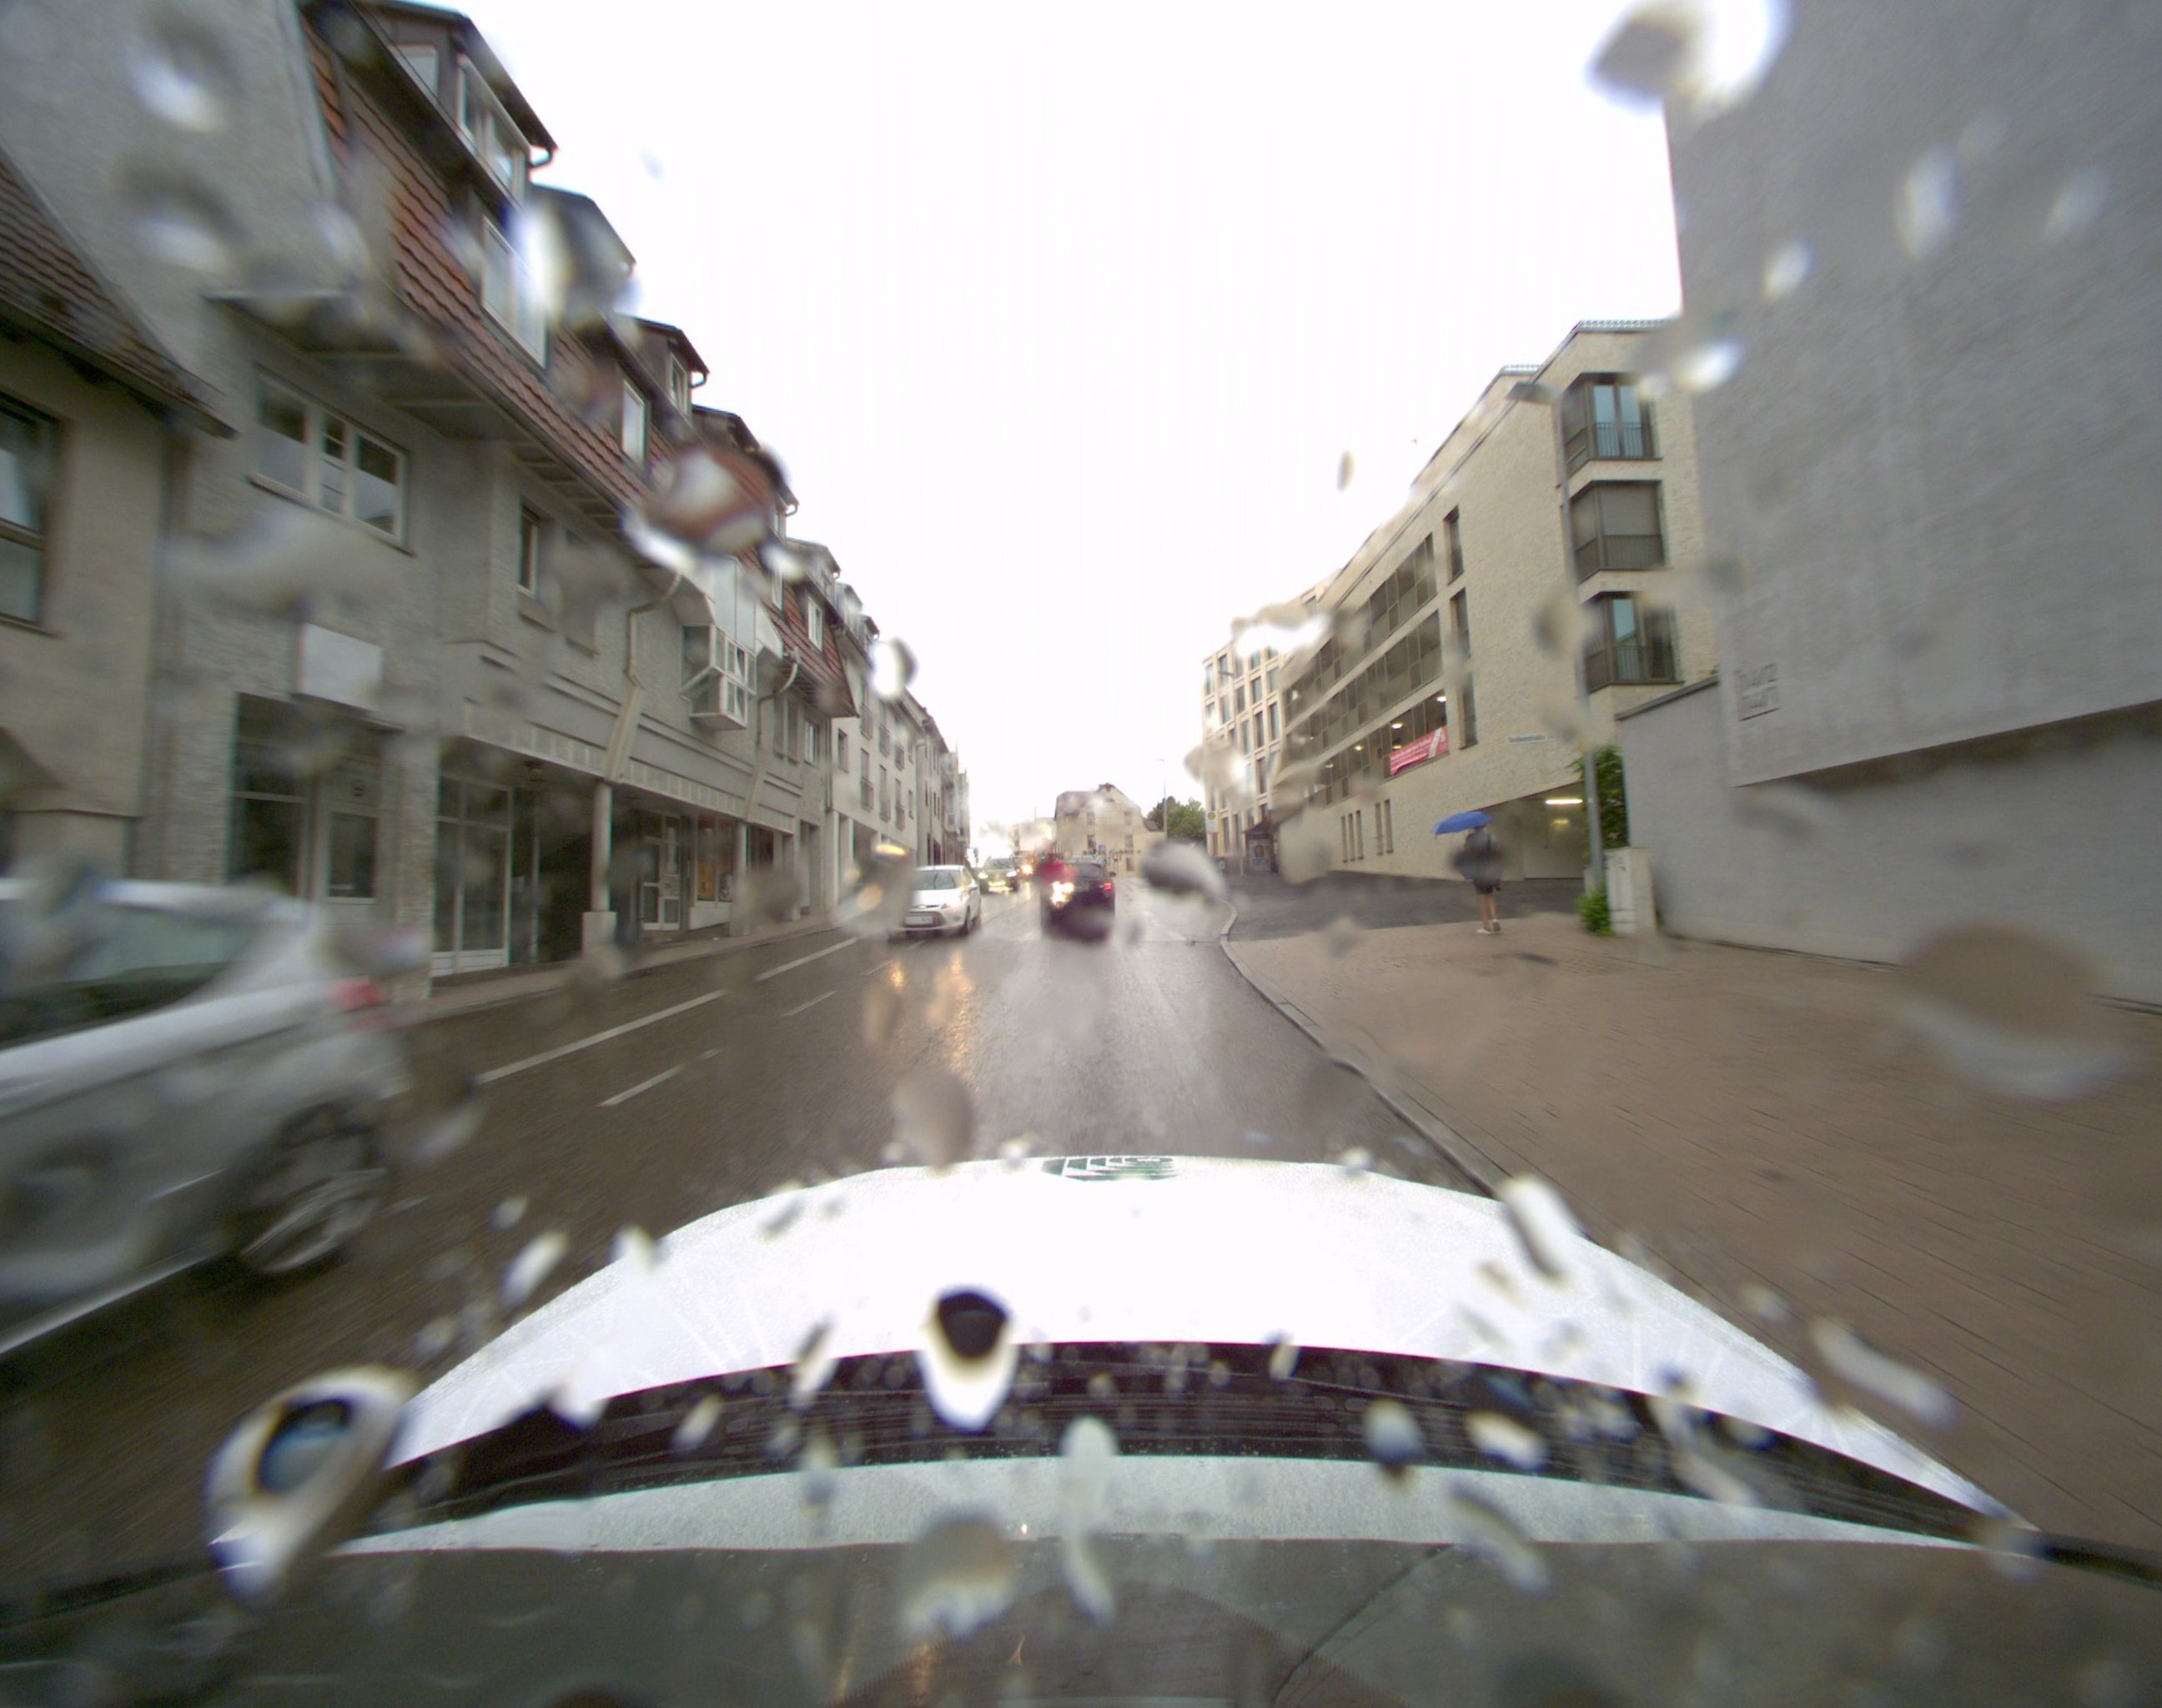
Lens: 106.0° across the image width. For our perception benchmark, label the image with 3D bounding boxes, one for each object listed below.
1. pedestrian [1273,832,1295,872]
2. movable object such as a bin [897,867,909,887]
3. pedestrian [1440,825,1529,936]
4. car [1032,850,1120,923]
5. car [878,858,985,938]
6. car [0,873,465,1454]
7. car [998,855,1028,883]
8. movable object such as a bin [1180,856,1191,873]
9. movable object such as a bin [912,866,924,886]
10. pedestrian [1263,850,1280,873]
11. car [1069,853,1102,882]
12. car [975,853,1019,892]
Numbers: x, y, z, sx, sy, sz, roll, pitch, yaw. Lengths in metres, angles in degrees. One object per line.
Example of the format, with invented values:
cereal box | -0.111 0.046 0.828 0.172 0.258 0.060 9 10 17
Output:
pedestrian | 10.156 -0.095 40.751 0.779 1.940 1.021 -4 -1 1
movable object such as a bin | -9.179 1.166 41.991 0.507 1.006 0.584 -2 0 -3
pedestrian | 6.064 0.384 12.301 0.732 1.542 1.039 -5 -1 4
car | -0.173 0.739 20.564 1.939 1.567 4.414 -2 0 -2
car | -3.177 0.876 17.923 1.672 1.510 3.587 -2 0 -1
car | -3.725 0.866 1.978 1.672 1.510 3.588 -2 0 0
car | -5.085 1.103 61.116 1.927 1.907 5.038 -3 0 -3
movable object such as a bin | 6.810 0.677 53.193 0.593 1.062 0.579 -3 -1 0
movable object such as a bin | -8.441 1.157 42.279 0.507 1.006 0.584 -2 0 -3
pedestrian | 9.838 0.383 42.133 0.669 1.162 0.635 -4 -1 1
car | 0.209 0.732 45.500 1.672 1.510 3.586 -2 0 -1
car | -3.911 0.833 38.660 1.778 1.694 4.455 -2 0 -3
